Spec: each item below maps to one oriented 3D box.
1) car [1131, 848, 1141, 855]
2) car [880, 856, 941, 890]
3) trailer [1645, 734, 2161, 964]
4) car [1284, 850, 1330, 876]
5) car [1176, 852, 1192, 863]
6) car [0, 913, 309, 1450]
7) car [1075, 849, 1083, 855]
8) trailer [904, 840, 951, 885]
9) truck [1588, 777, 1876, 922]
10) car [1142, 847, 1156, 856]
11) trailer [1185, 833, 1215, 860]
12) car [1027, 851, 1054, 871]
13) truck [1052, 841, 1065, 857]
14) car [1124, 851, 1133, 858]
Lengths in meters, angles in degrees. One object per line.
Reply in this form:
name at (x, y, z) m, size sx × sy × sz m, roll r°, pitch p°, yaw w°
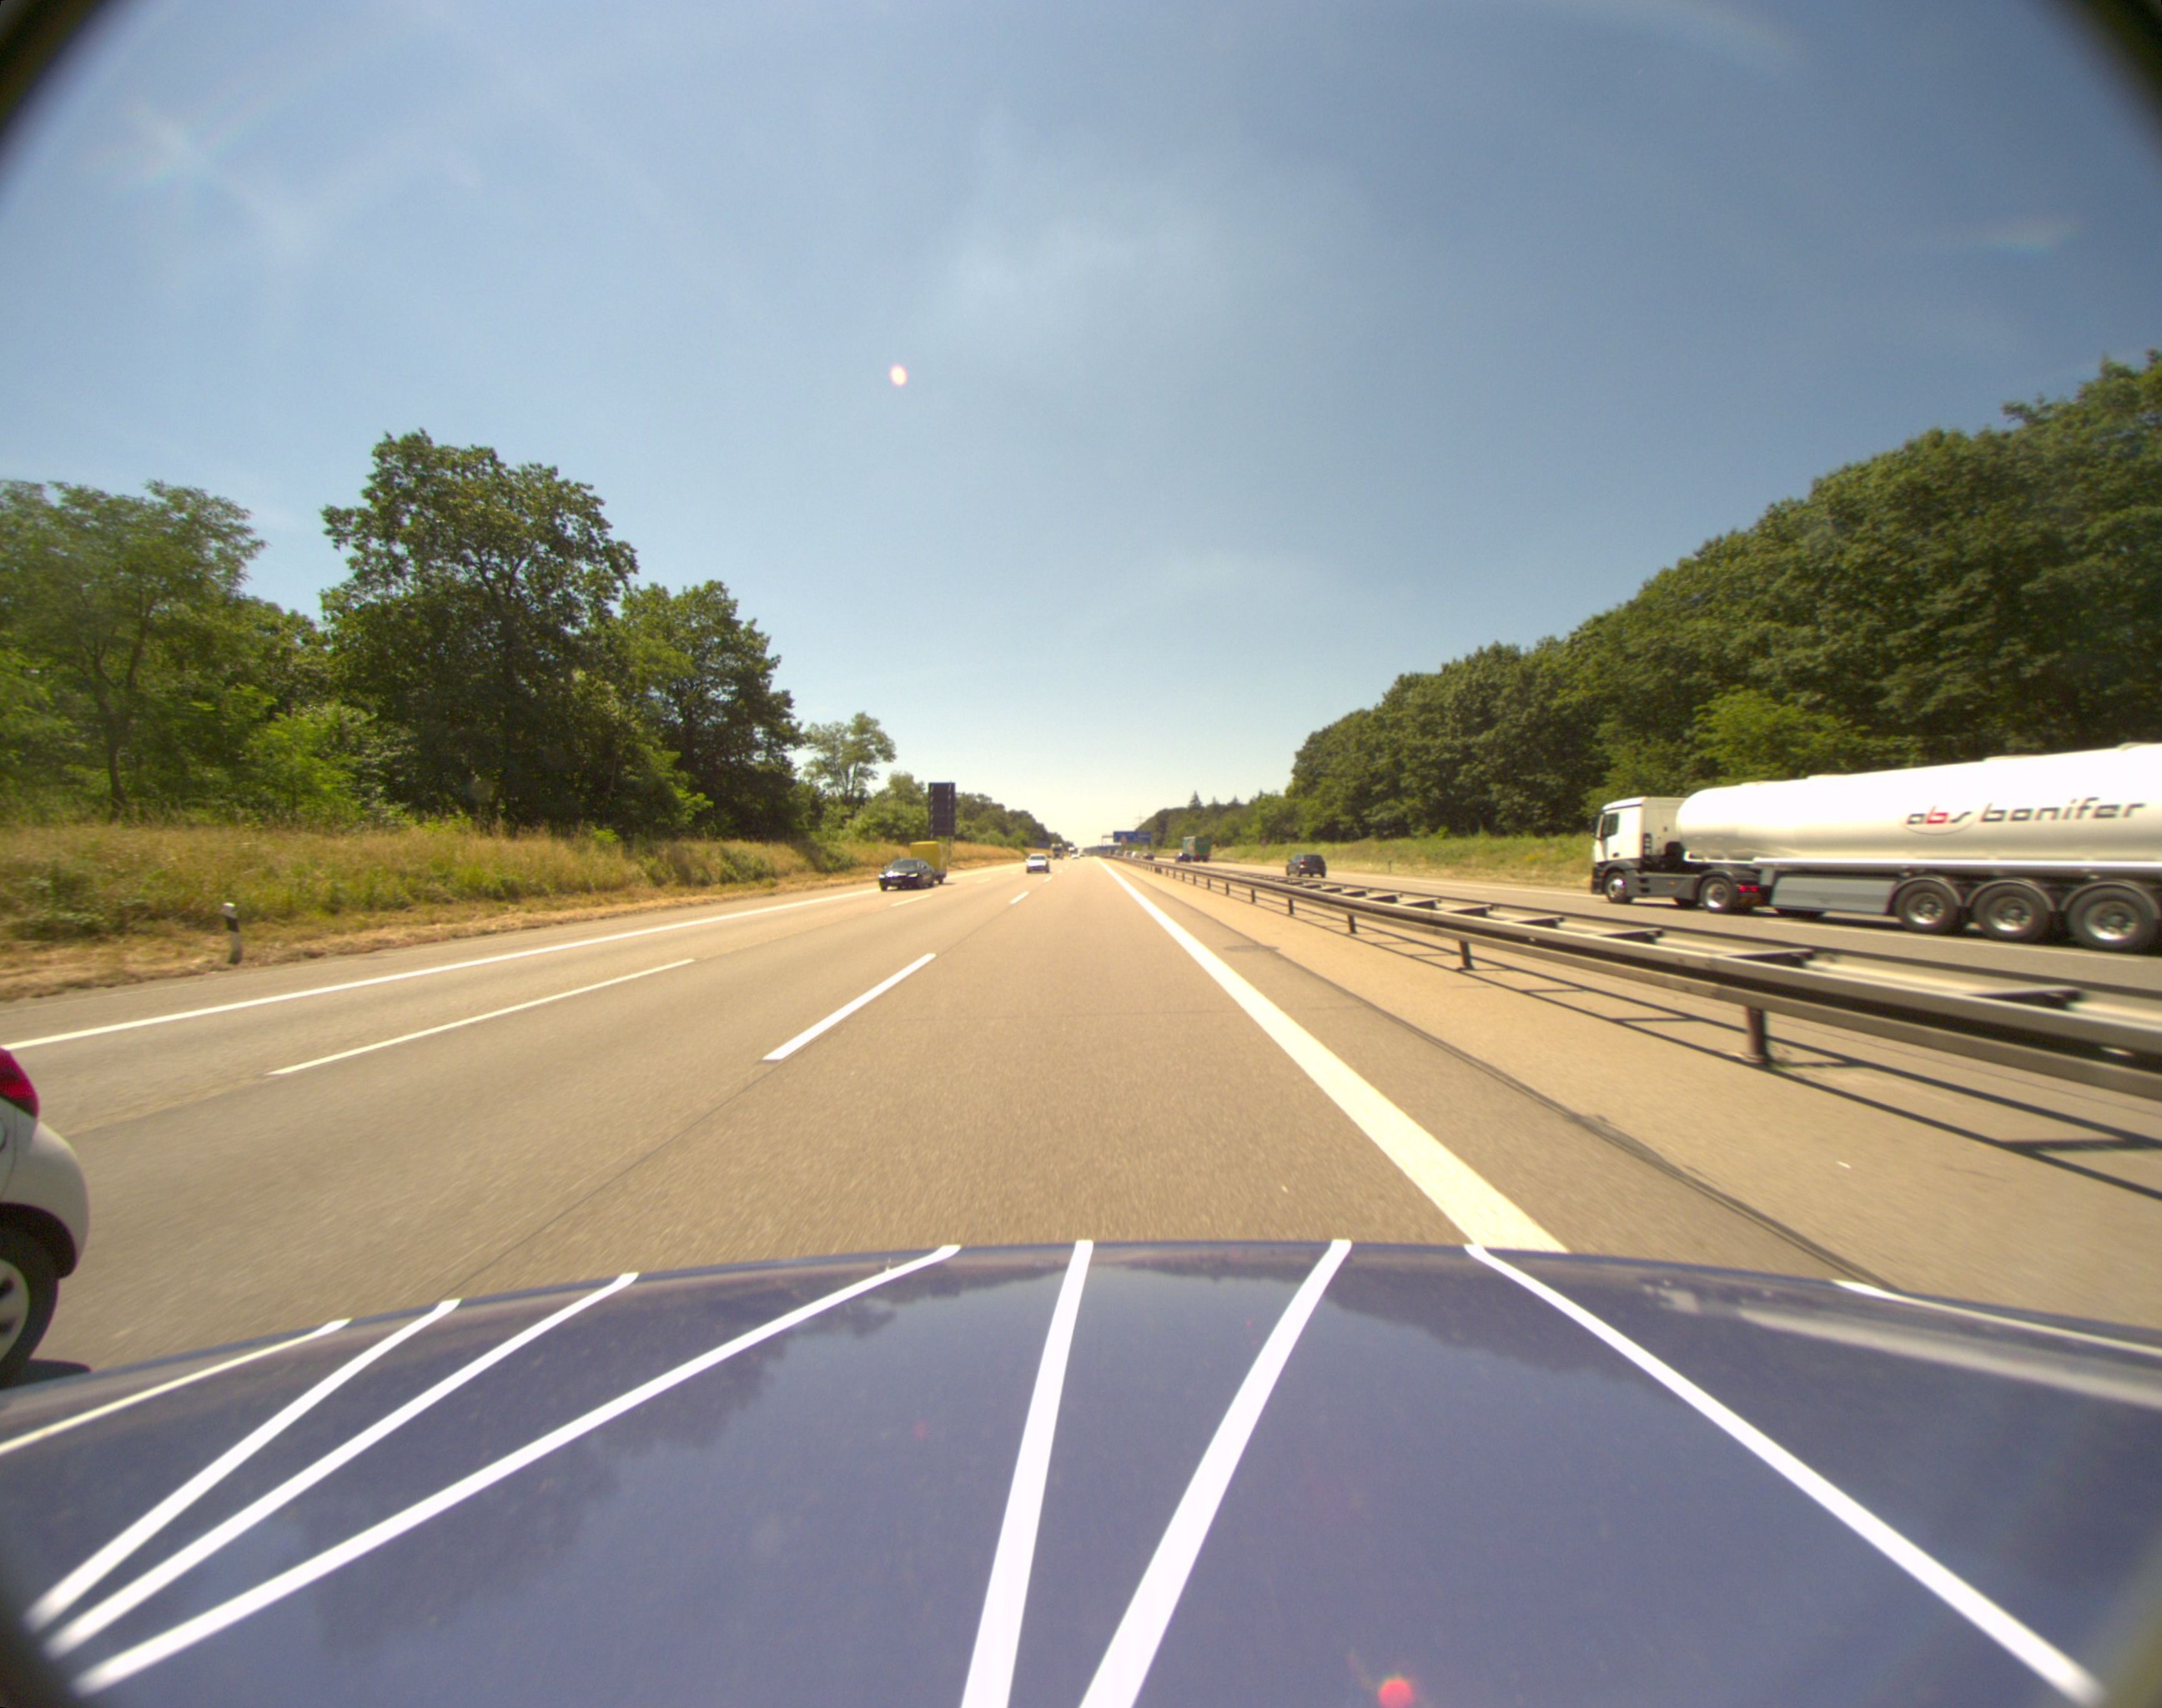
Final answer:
car at (11.483, -0.539, 158.315) m, size 1.659 × 1.492 × 4.600 m, roll 2°, pitch 1°, yaw 1°
car at (-8.109, 0.865, 36.616) m, size 1.826 × 1.447 × 4.787 m, roll -2°, pitch 0°, yaw 0°
trailer at (17.437, -0.087, 15.797) m, size 2.689 × 3.414 × 11.798 m, roll 1°, pitch 1°, yaw 1°
car at (13.782, 0.524, 46.566) m, size 1.637 × 1.464 × 3.936 m, roll 1°, pitch 1°, yaw 1°
car at (14.534, 0.423, 107.451) m, size 1.678 × 1.435 × 5.135 m, roll 1°, pitch 1°, yaw 1°
car at (-4.028, 1.018, 1.055) m, size 1.712 × 1.486 × 4.023 m, roll -2°, pitch 0°, yaw 1°
car at (-0.541, -0.464, 183.345) m, size 1.796 × 1.412 × 3.999 m, roll -2°, pitch 0°, yaw 0°
trailer at (-8.199, 0.425, 40.938) m, size 1.707 × 2.276 × 3.839 m, roll -2°, pitch 1°, yaw 0°
truck at (17.510, -0.128, 21.128) m, size 2.689 × 3.414 × 6.144 m, roll 1°, pitch 1°, yaw 1°
car at (10.896, -0.430, 121.975) m, size 1.713 × 1.402 × 5.083 m, roll 2°, pitch 1°, yaw 1°
trailer at (19.719, -1.286, 126.593) m, size 2.711 × 4.137 × 14.337 m, roll 2°, pitch 1°, yaw 1°
car at (-3.149, 0.539, 59.627) m, size 1.749 × 1.457 × 3.980 m, roll -2°, pitch 0°, yaw 1°
truck at (-5.449, -1.189, 185.515) m, size 2.605 × 3.811 × 5.969 m, roll -2°, pitch 0°, yaw 1°
car at (12.217, 0.075, 194.434) m, size 1.959 × 1.782 × 5.562 m, roll 2°, pitch 0°, yaw 1°
